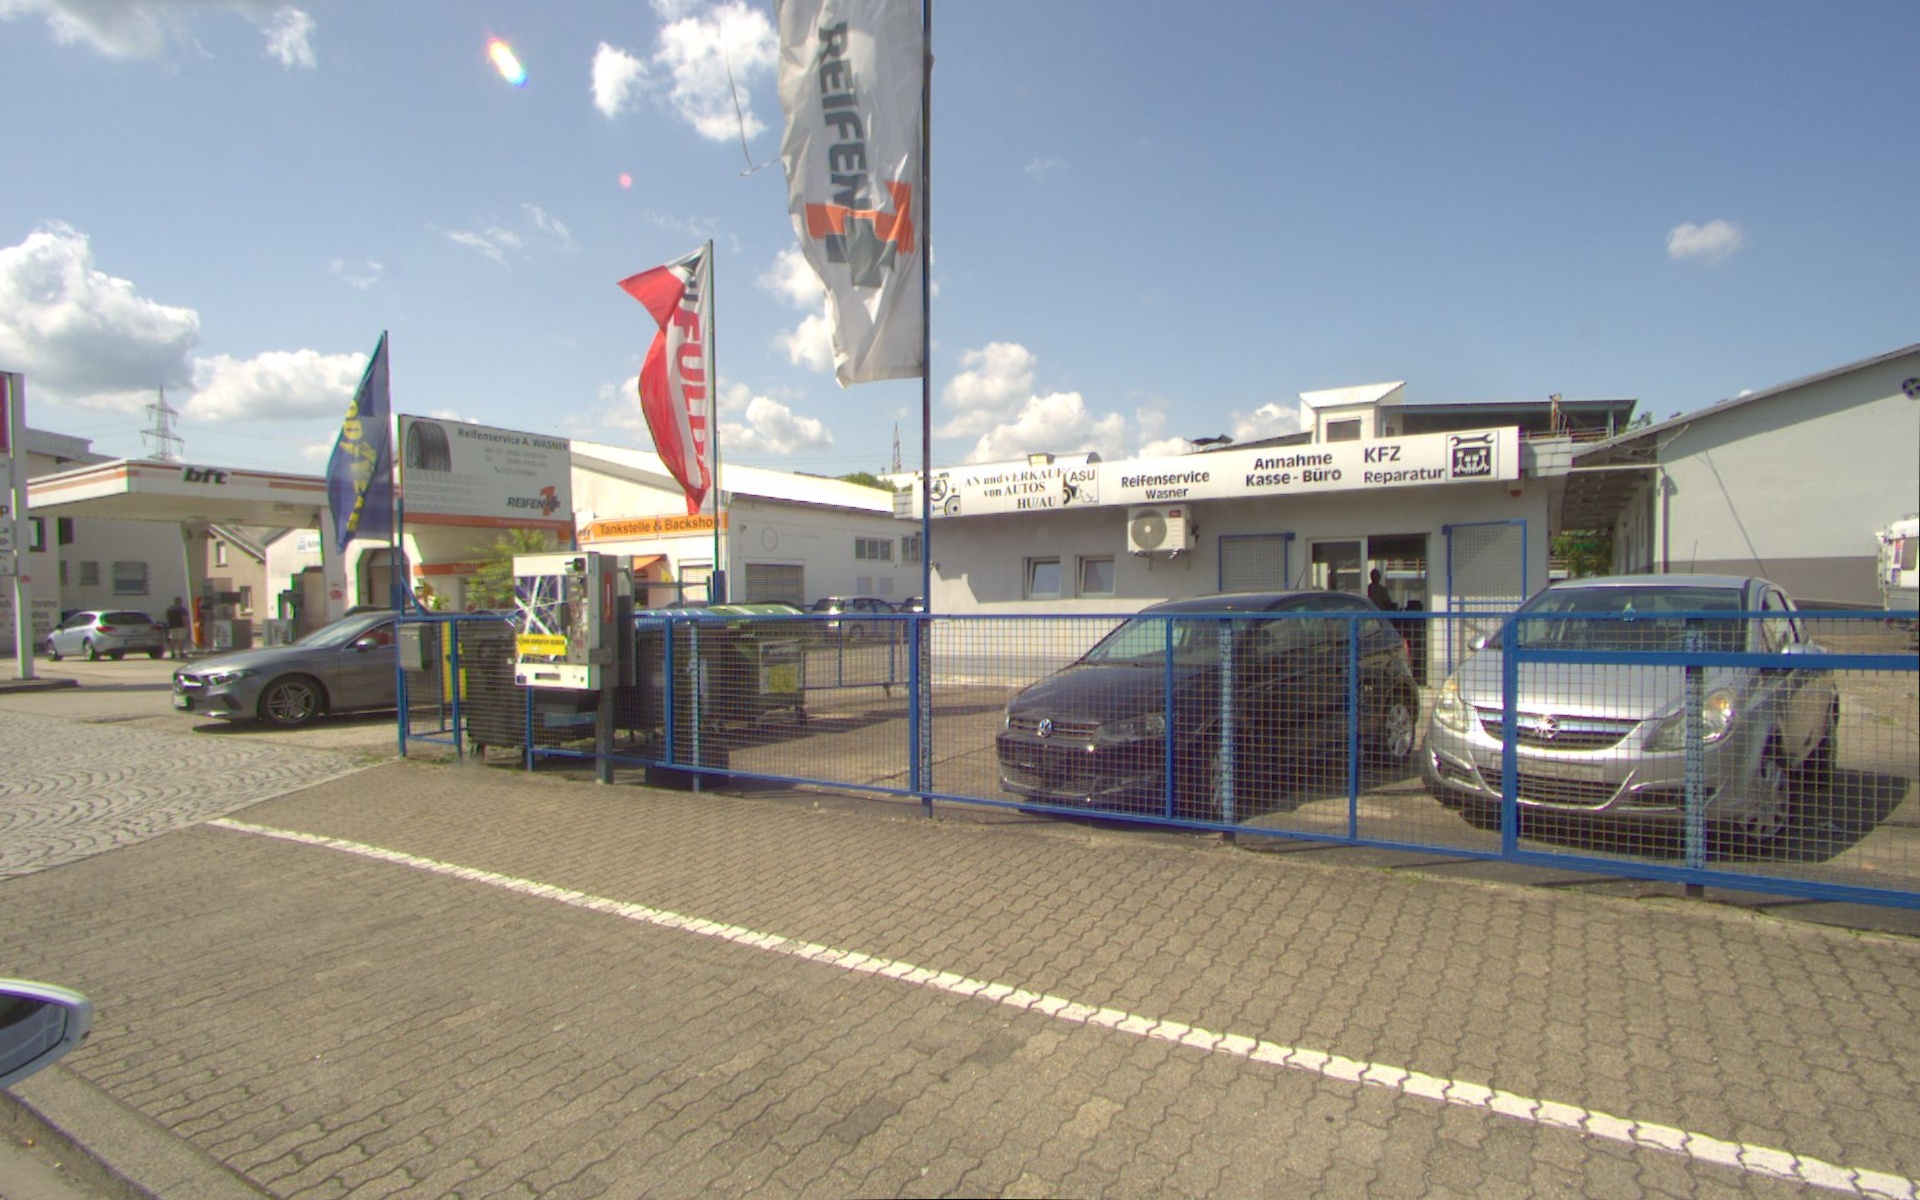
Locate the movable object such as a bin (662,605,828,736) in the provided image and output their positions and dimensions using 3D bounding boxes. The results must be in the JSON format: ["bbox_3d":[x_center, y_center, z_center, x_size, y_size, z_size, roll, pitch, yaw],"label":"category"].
[{"bbox_3d":[-2.535,0.783,11.901,1.318,1.415,1.400,0,1,31],"label":"movable object such as a bin"}]

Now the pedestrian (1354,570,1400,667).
[{"bbox_3d":[7.351,0.320,17.644,0.654,1.671,0.563,0,1,34],"label":"pedestrian"}]

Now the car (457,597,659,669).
[{"bbox_3d":[-9.166,0.688,23.162,1.564,1.482,4.187,0,0,33],"label":"car"}]

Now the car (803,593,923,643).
[{"bbox_3d":[-3.016,0.526,32.049,1.564,1.482,4.187,0,0,33],"label":"car"}]

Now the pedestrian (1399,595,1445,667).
[{"bbox_3d":[8.045,0.533,17.437,0.654,1.225,0.563,0,1,34],"label":"pedestrian"}]

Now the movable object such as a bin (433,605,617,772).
[{"bbox_3d":[-4.161,0.787,9.606,1.225,1.455,1.106,0,1,31],"label":"movable object such as a bin"}]

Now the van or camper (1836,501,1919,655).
[{"bbox_3d":[21.013,-0.453,19.526,5.571,3.005,2.264,0,1,31],"label":"van or camper"}]

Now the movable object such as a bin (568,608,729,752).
[{"bbox_3d":[-3.328,0.803,10.736,1.225,1.415,1.106,0,1,31],"label":"movable object such as a bin"}]

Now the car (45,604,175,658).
[{"bbox_3d":[-25.738,0.900,30.306,3.776,1.523,1.803,0,0,30],"label":"car"}]

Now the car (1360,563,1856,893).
[{"bbox_3d":[4.270,0.562,6.379,3.729,1.472,1.757,-1,0,-42],"label":"car"}]

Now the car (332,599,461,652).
[{"bbox_3d":[-17.310,0.747,30.723,3.777,1.523,1.803,0,0,31],"label":"car"}]

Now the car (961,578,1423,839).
[{"bbox_3d":[1.889,0.603,7.490,3.655,1.472,1.625,-1,0,-43],"label":"car"}]

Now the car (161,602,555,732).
[{"bbox_3d":[-7.890,0.763,13.491,1.654,1.434,4.253,0,0,39],"label":"car"}]

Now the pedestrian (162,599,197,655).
[{"bbox_3d":[-23.777,0.800,30.516,0.698,1.679,0.546,-1,1,-22],"label":"pedestrian"}]

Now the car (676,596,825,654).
[{"bbox_3d":[-5.719,0.641,27.818,1.564,1.482,4.187,0,0,33],"label":"car"}]

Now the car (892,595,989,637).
[{"bbox_3d":[-0.640,0.533,35.734,1.564,1.385,3.860,0,0,33],"label":"car"}]
